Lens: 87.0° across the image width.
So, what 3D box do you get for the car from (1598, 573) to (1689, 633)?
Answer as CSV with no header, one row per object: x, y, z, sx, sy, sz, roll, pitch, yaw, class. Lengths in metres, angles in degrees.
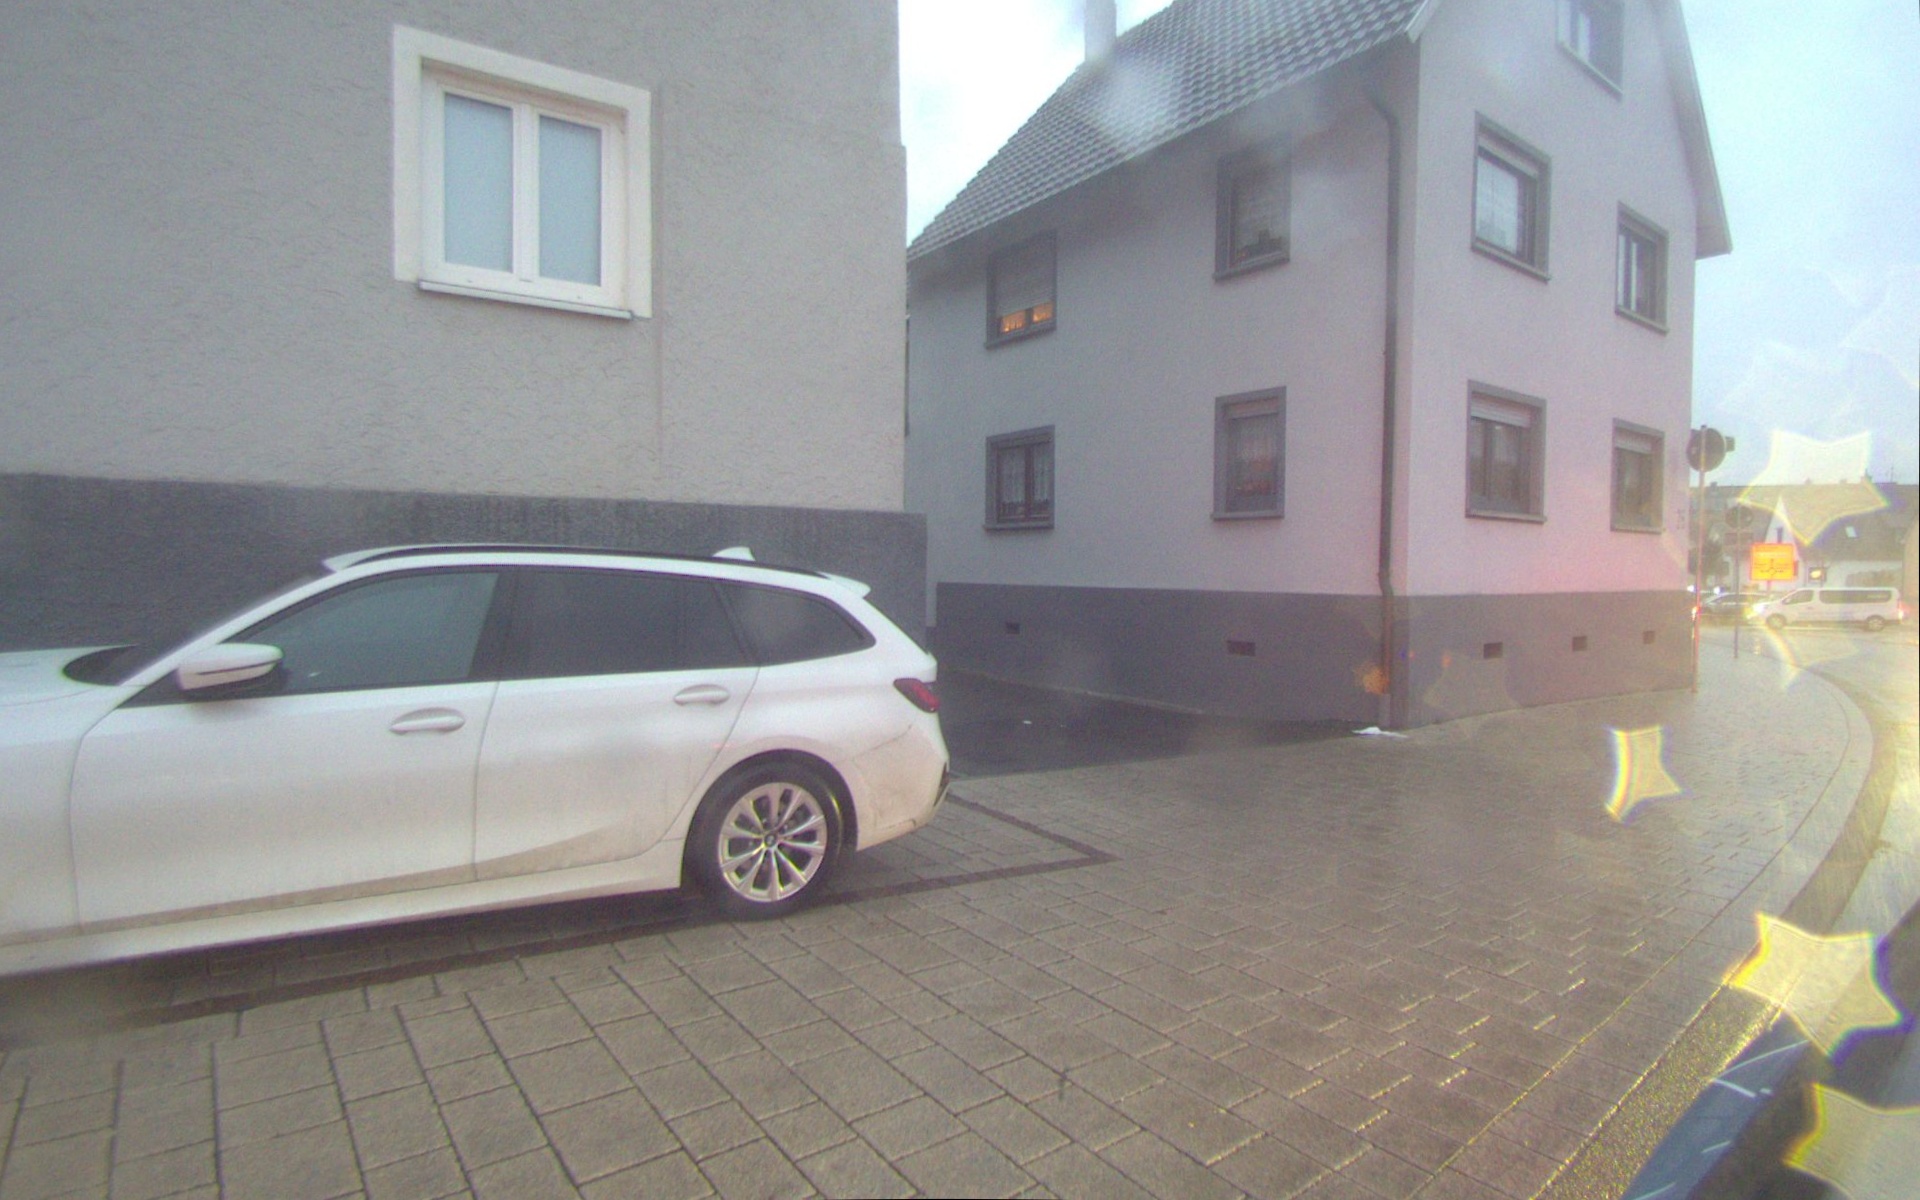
24.803,0.087,36.893,1.959,1.984,4.810,1,1,25,car

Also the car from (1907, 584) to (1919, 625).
41.511,0.239,40.724,4.393,1.652,2.142,1,1,20,car

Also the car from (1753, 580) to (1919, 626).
39.945,0.119,46.171,5.737,1.971,1.967,0,0,33,car

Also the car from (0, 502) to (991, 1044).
-2.273,0.440,4.077,4.452,1.484,1.892,1,2,-31,car

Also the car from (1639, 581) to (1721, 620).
37.153,-0.017,52.364,2.120,1.884,4.715,0,1,18,car

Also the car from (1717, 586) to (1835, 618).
46.840,0.108,58.223,4.823,1.705,1.986,2,0,21,car
